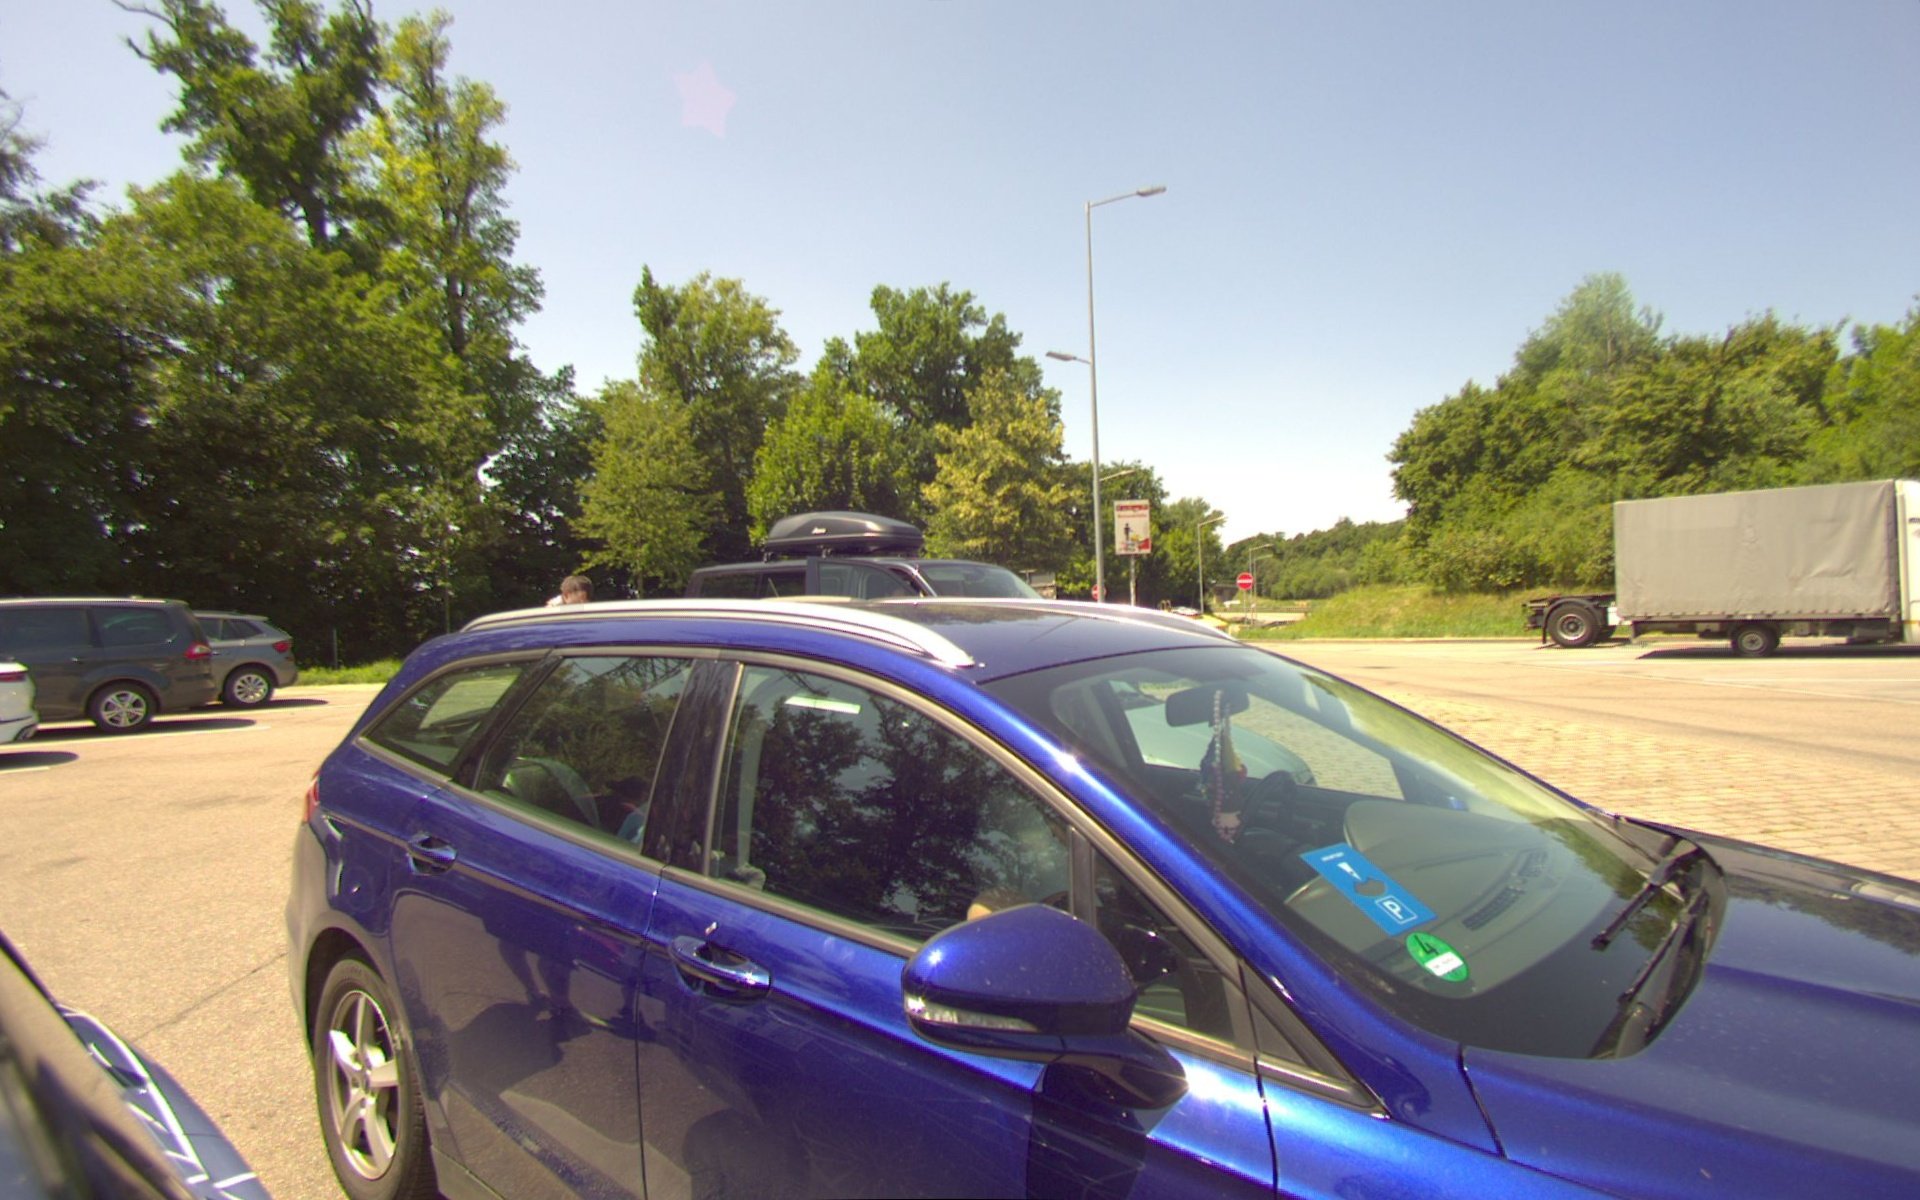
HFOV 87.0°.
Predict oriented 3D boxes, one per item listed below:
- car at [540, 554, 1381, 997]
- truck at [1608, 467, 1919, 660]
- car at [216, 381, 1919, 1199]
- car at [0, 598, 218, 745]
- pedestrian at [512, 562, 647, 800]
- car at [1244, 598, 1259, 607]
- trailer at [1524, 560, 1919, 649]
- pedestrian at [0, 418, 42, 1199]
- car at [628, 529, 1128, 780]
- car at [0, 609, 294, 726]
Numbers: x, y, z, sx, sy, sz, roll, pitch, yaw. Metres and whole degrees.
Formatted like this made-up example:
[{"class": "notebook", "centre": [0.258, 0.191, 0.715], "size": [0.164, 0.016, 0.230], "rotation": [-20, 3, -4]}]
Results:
[{"class": "car", "centre": [-0.327, 0.663, 5.607], "size": [4.569, 1.517, 1.735], "rotation": [-3, 0, 40]}, {"class": "truck", "centre": [16.776, -0.647, 19.009], "size": [7.274, 3.269, 2.678], "rotation": [-4, -1, 42]}, {"class": "car", "centre": [0.228, 0.628, 2.071], "size": [4.569, 1.482, 1.735], "rotation": [-3, 0, 40]}, {"class": "car", "centre": [-11.636, 0.858, 12.654], "size": [3.767, 1.708, 1.654], "rotation": [-1, 0, -38]}, {"class": "pedestrian", "centre": [-3.043, 0.602, 8.082], "size": [0.773, 1.767, 0.756], "rotation": [-1, 0, -42]}, {"class": "car", "centre": [64.166, 0.581, 222.850], "size": [1.971, 2.029, 4.002], "rotation": [-1, 0, -2]}, {"class": "trailer", "centre": [17.701, 0.158, 23.106], "size": [8.098, 1.638, 2.187], "rotation": [-4, -1, 41]}, {"class": "pedestrian", "centre": [-2.733, 0.514, 2.240], "size": [0.905, 1.919, 0.816], "rotation": [-1, 0, -33]}, {"class": "car", "centre": [-0.897, 0.493, 9.656], "size": [4.558, 1.912, 1.740], "rotation": [-3, 0, 32]}, {"class": "car", "centre": [-12.628, 0.962, 15.661], "size": [3.767, 1.572, 1.654], "rotation": [-1, 0, -38]}]
